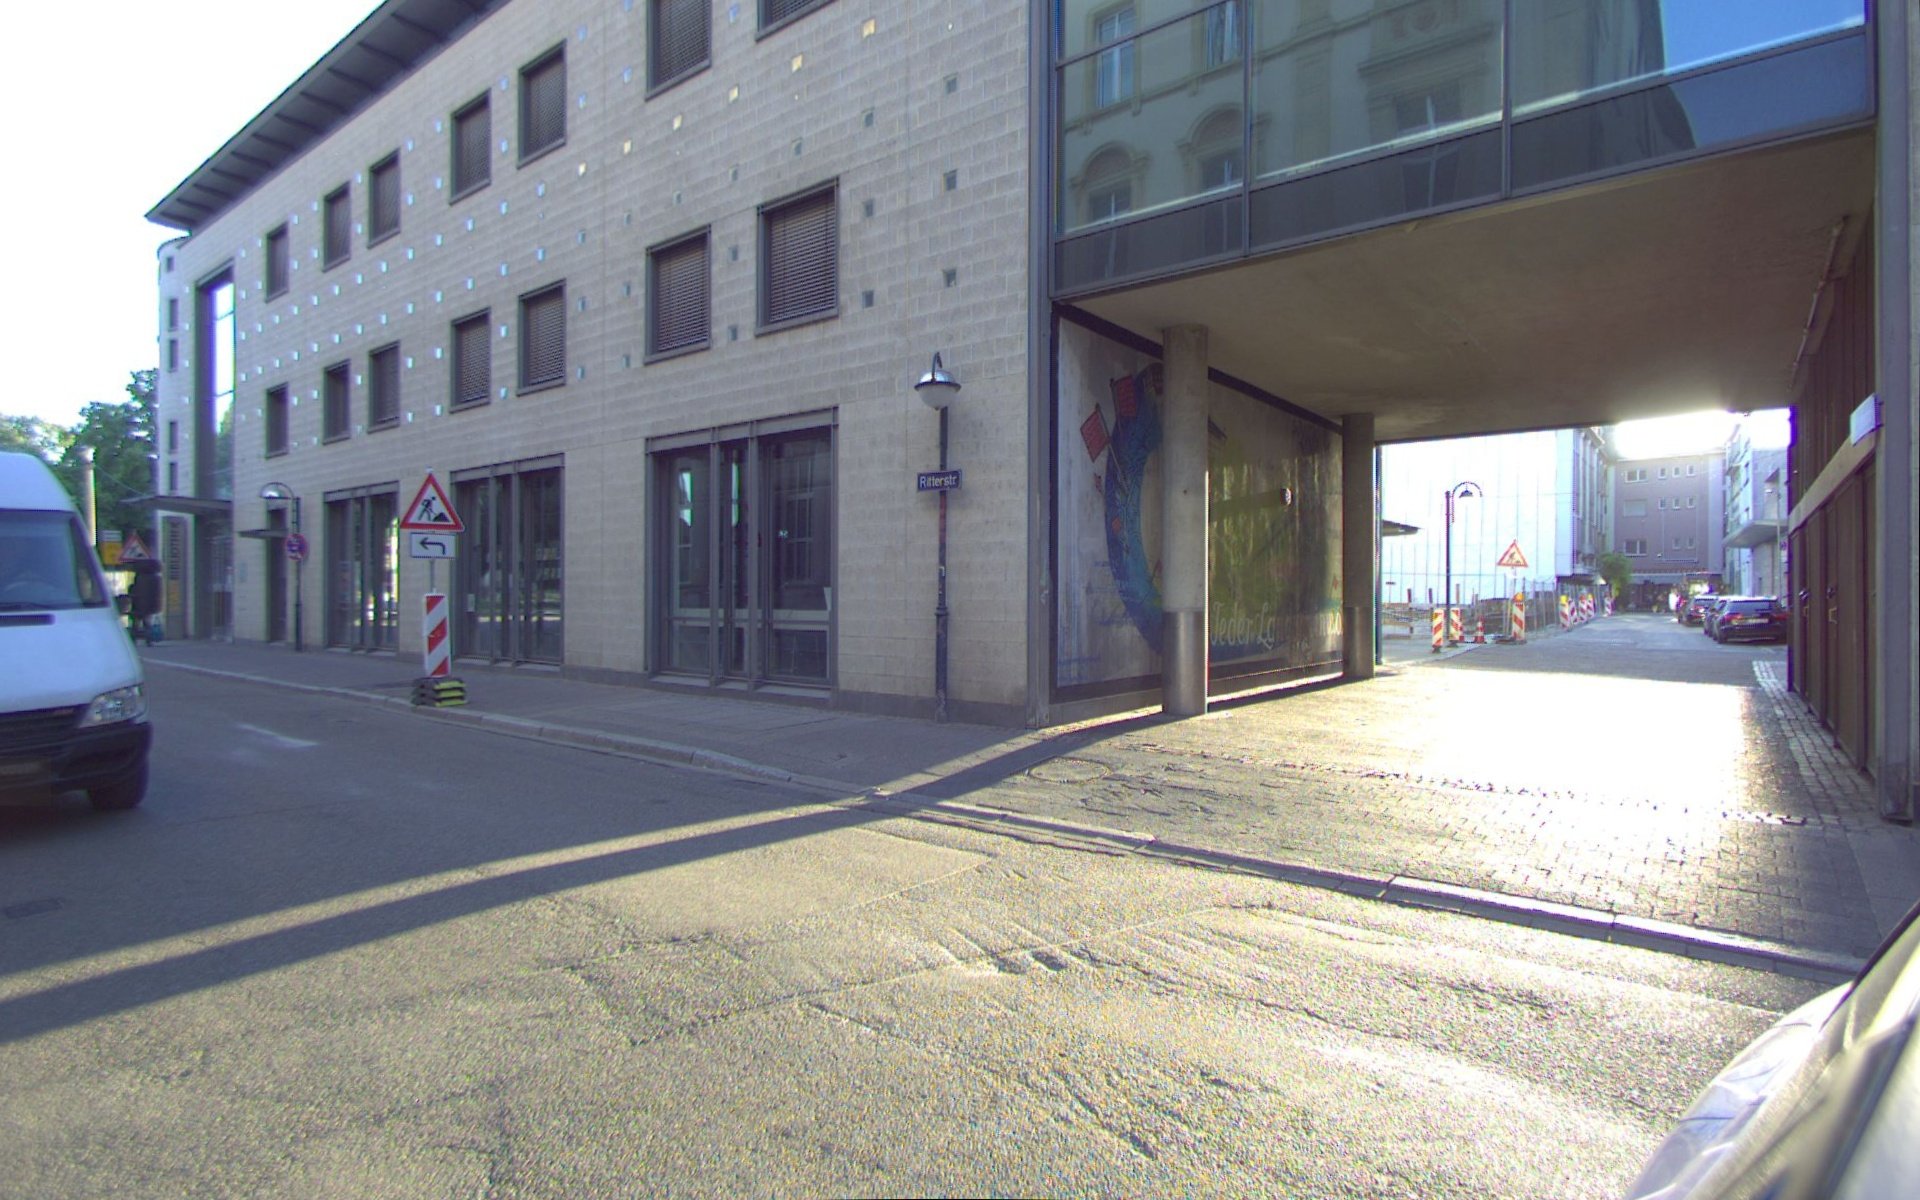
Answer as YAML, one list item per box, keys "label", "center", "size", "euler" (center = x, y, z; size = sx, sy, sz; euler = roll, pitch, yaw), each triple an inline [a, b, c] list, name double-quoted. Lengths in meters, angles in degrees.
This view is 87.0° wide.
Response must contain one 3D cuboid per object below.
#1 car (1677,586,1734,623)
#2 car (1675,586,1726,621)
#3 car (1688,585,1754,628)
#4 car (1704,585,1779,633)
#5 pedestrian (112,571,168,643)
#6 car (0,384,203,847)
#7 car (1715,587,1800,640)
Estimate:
- label: "car"
  center: [31.532, 0.159, 42.887]
  size: [1.589, 1.512, 3.408]
  euler: [0, 1, 31]
- label: "car"
  center: [34.392, 0.139, 47.080]
  size: [1.589, 1.512, 3.408]
  euler: [0, 1, 31]
- label: "car"
  center: [28.466, 0.222, 37.930]
  size: [1.589, 1.512, 3.408]
  euler: [0, 1, 31]
- label: "car"
  center: [26.522, 0.258, 34.418]
  size: [1.589, 1.512, 3.408]
  euler: [0, 1, 31]
- label: "pedestrian"
  center: [-19.990, 0.156, 24.665]
  size: [0.864, 1.723, 0.912]
  euler: [0, 1, 40]
- label: "car"
  center: [-7.921, 0.061, 7.383]
  size: [6.430, 2.542, 1.977]
  euler: [1, 4, 36]
- label: "car"
  center: [24.571, 0.363, 31.283]
  size: [1.589, 1.512, 3.408]
  euler: [0, 1, 31]
